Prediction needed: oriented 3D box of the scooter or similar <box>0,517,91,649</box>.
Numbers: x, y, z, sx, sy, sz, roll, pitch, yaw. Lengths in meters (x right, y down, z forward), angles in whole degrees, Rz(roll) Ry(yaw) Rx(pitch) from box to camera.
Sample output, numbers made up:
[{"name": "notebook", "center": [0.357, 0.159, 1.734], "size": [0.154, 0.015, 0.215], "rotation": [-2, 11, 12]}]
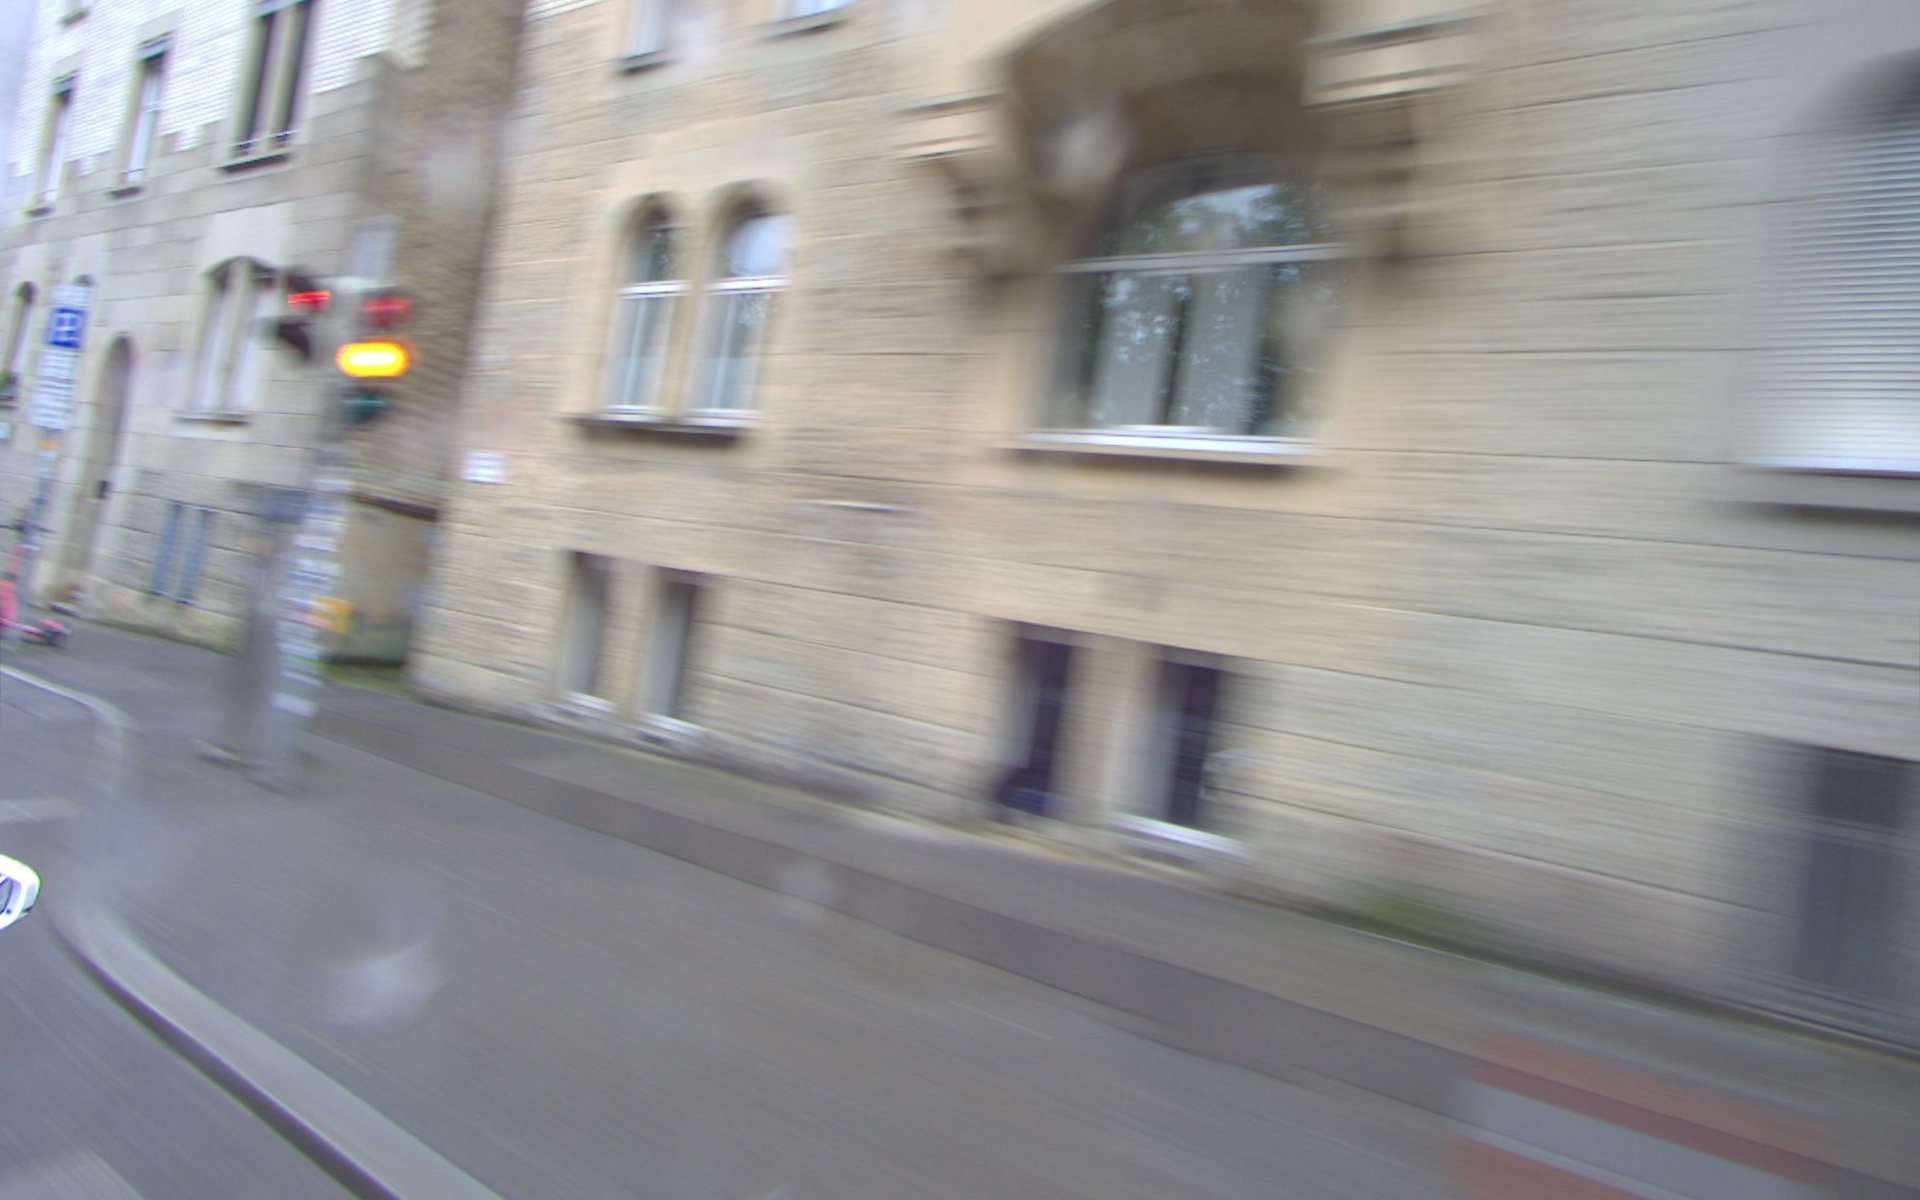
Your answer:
[{"name": "scooter or similar", "center": [-10.261, -0.211, 10.967], "size": [1.539, 1.331, 0.367], "rotation": [5, 0, 18]}]
